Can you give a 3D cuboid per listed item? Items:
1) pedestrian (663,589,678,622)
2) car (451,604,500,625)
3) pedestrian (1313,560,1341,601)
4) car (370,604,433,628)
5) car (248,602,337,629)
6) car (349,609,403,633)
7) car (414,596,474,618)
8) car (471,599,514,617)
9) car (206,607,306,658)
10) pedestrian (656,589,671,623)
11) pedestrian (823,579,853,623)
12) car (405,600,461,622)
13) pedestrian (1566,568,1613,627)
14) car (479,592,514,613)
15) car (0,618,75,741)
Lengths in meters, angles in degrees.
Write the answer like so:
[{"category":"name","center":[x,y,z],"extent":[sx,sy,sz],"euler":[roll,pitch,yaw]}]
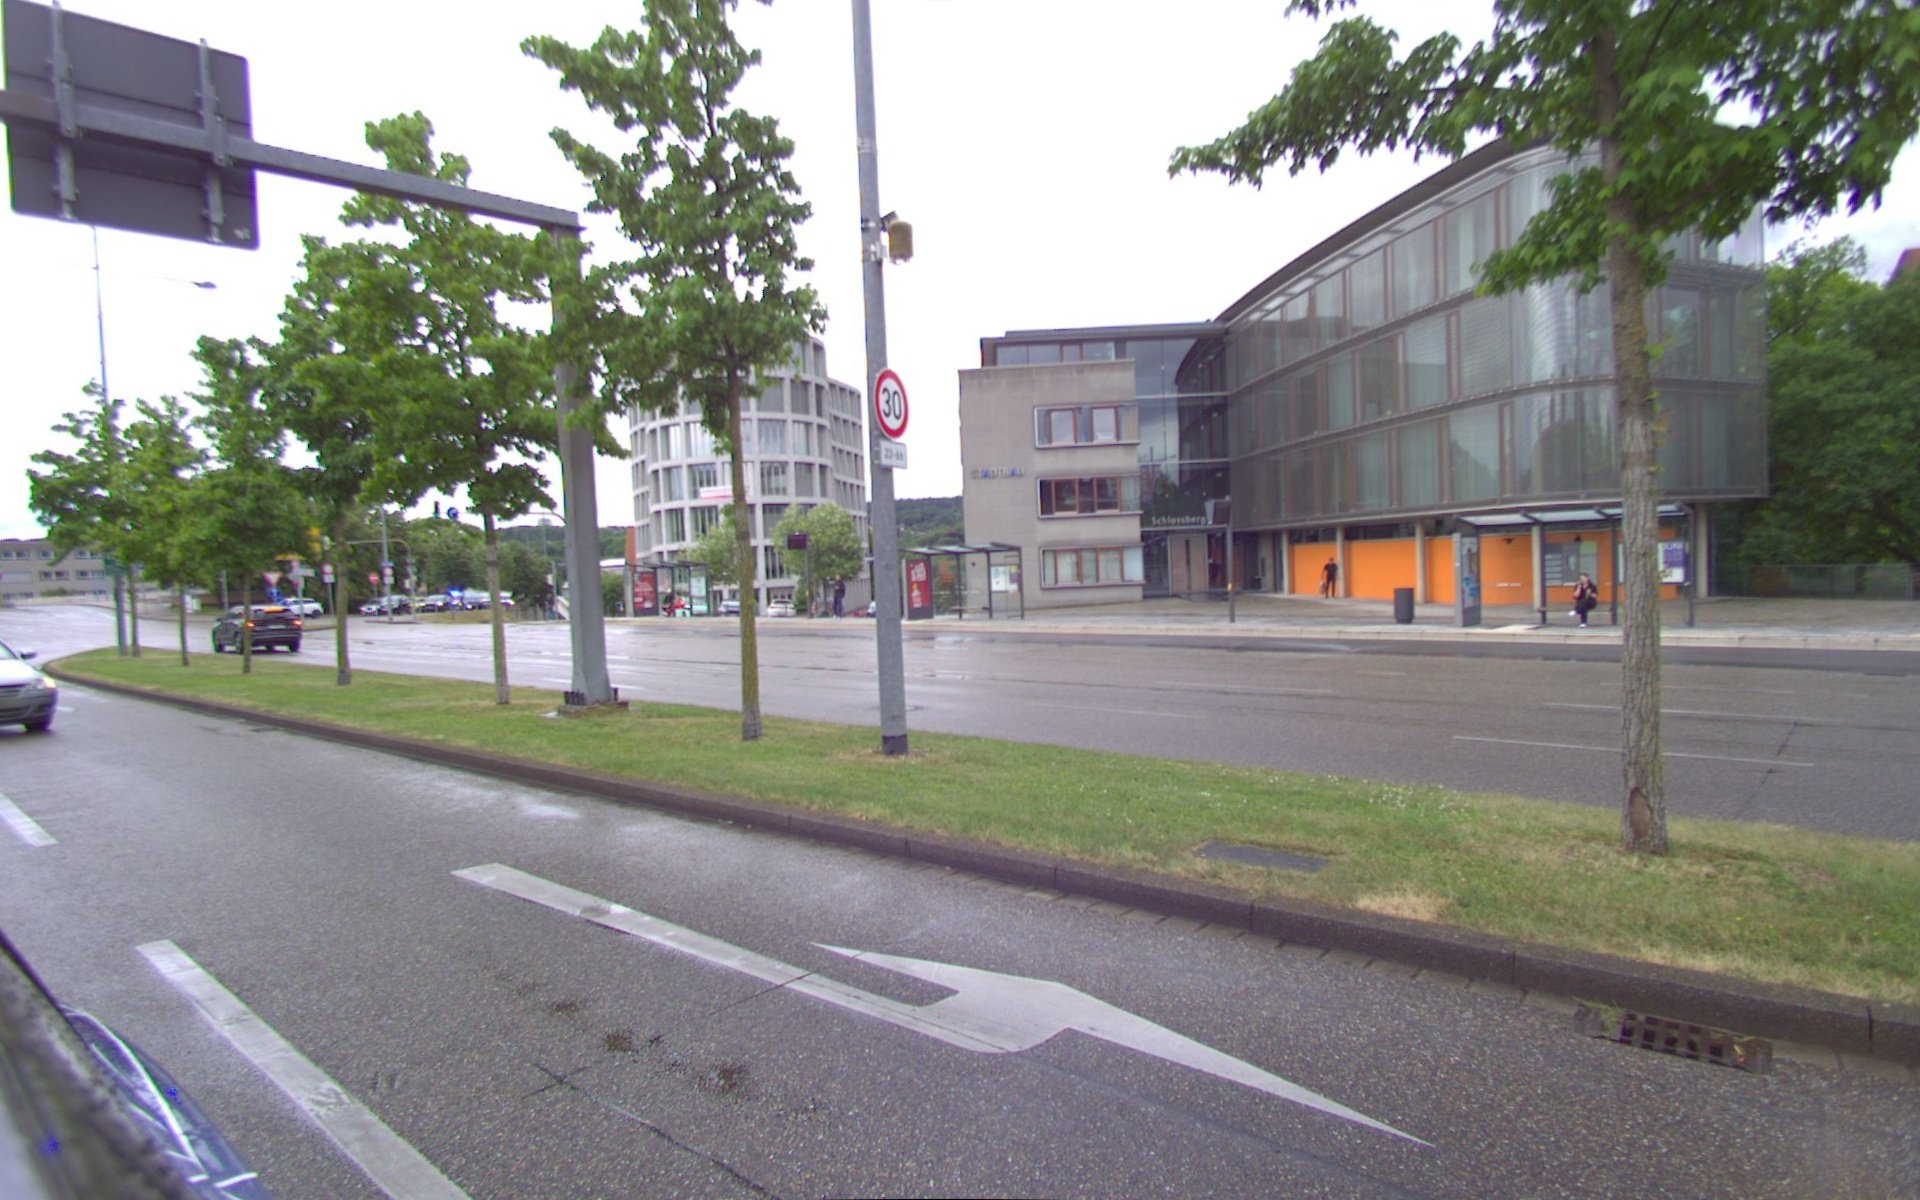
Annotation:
[{"category":"pedestrian","center":[-14.559,0.292,50.901],"extent":[0.535,1.647,0.514],"euler":[-1,0,41]},{"category":"car","center":[-43.166,1.277,90.339],"extent":[2.164,1.725,4.920],"euler":[-1,0,-3]},{"category":"pedestrian","center":[14.914,-0.785,41.149],"extent":[0.697,1.666,0.852],"euler":[-1,0,-6]},{"category":"car","center":[-42.324,1.186,76.839],"extent":[2.164,1.725,4.919],"euler":[-1,0,-3]},{"category":"car","center":[-47.485,1.058,72.085],"extent":[2.184,1.725,4.875],"euler":[-1,0,25]},{"category":"car","center":[-47.232,1.696,81.896],"extent":[1.973,1.807,3.998],"euler":[-1,0,2]},{"category":"car","center":[-50.967,0.676,99.948],"extent":[4.983,2.029,2.302],"euler":[-1,0,13]},{"category":"car","center":[-48.834,0.838,105.738],"extent":[4.913,1.725,2.167],"euler":[-1,0,40]},{"category":"car","center":[-25.129,1.129,36.043],"extent":[4.597,1.652,1.803],"euler":[-1,1,41]},{"category":"pedestrian","center":[-14.730,0.297,50.333],"extent":[0.501,1.647,0.497],"euler":[-1,0,41]},{"category":"pedestrian","center":[-5.022,0.031,41.658],"extent":[0.964,1.773,0.783],"euler":[-1,0,12]},{"category":"car","center":[-43.464,0.872,83.573],"extent":[2.164,1.725,4.919],"euler":[-1,0,-3]},{"category":"pedestrian","center":[14.606,-0.052,23.478],"extent":[0.790,1.334,0.793],"euler":[-1,0,42]},{"category":"car","center":[-45.428,0.259,99.272],"extent":[1.969,2.029,4.005],"euler":[-1,0,-6]},{"category":"car","center":[-13.309,1.012,12.993],"extent":[3.715,1.469,1.614],"euler":[-1,0,26]}]
